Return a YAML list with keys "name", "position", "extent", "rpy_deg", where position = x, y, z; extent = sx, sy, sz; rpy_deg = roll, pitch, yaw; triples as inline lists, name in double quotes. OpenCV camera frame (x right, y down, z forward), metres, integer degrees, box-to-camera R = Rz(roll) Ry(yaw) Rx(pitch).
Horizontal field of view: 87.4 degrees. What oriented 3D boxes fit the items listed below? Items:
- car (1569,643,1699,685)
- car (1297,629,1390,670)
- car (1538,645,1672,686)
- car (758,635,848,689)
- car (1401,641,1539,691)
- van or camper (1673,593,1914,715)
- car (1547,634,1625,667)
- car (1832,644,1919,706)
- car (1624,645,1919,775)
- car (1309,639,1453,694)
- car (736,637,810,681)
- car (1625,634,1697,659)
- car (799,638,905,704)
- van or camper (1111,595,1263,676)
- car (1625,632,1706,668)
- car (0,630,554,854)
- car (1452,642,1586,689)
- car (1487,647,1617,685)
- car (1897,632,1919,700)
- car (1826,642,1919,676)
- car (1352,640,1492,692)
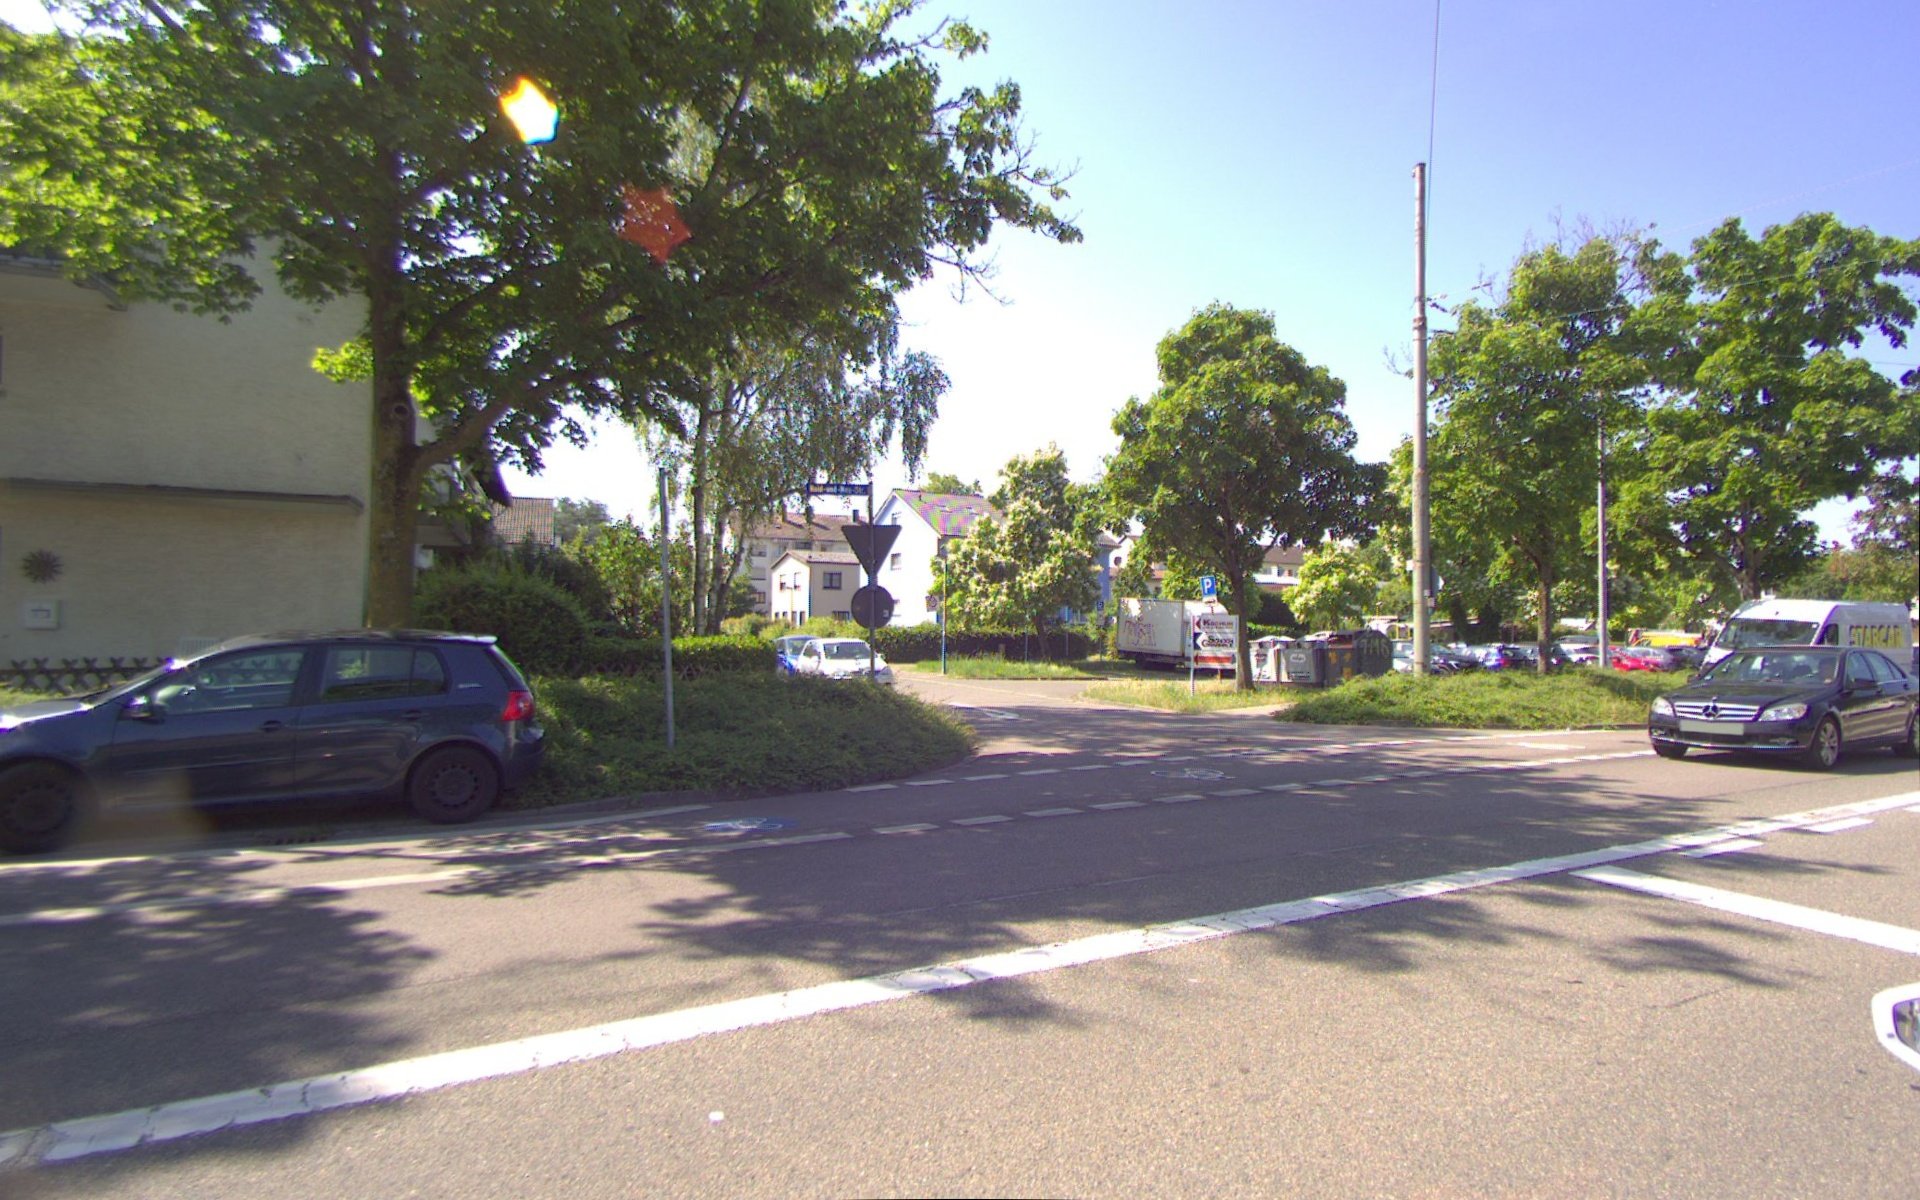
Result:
- name: "car"
  position: [26.583, 2.487, 39.728]
  extent: [1.644, 1.564, 3.969]
  rpy_deg: [2, -2, -30]
- name: "car"
  position: [18.639, 2.384, 48.946]
  extent: [1.766, 1.915, 3.964]
  rpy_deg: [2, -2, -33]
- name: "car"
  position: [24.491, 2.446, 38.283]
  extent: [1.712, 1.428, 3.969]
  rpy_deg: [2, -2, -30]
- name: "car"
  position: [-4.836, 1.843, 30.606]
  extent: [1.782, 1.545, 3.978]
  rpy_deg: [2, -3, -23]
- name: "car"
  position: [17.264, 2.204, 34.176]
  extent: [1.645, 1.564, 3.967]
  rpy_deg: [2, -3, -31]
- name: "van or camper"
  position: [19.473, 1.243, 23.405]
  extent: [6.072, 2.547, 2.248]
  rpy_deg: [2, -2, -29]
- name: "car"
  position: [40.861, 3.282, 65.641]
  extent: [1.890, 2.029, 3.964]
  rpy_deg: [2, -2, -33]
- name: "car"
  position: [25.024, 1.921, 26.258]
  extent: [4.829, 1.474, 1.923]
  rpy_deg: [2, -2, -31]
- name: "car"
  position: [10.648, 1.300, 12.913]
  extent: [4.253, 1.428, 1.778]
  rpy_deg: [2, -3, -29]
- name: "car"
  position: [13.050, 2.028, 31.382]
  extent: [1.645, 1.564, 3.967]
  rpy_deg: [2, -3, -31]
- name: "car"
  position: [-6.712, 2.059, 35.750]
  extent: [1.740, 1.475, 3.978]
  rpy_deg: [2, -3, -23]
- name: "car"
  position: [63.743, 4.238, 91.414]
  extent: [2.077, 2.202, 4.902]
  rpy_deg: [2, -3, -32]
- name: "car"
  position: [-2.884, 1.761, 26.018]
  extent: [1.781, 1.545, 3.981]
  rpy_deg: [0, -2, -21]
- name: "van or camper"
  position: [9.891, 1.563, 44.530]
  extent: [2.553, 3.287, 6.914]
  rpy_deg: [2, -2, -31]
- name: "car"
  position: [46.281, 3.251, 65.958]
  extent: [1.890, 2.229, 3.964]
  rpy_deg: [2, -2, -33]
- name: "car"
  position: [-5.499, 0.993, 8.010]
  extent: [4.033, 1.470, 1.609]
  rpy_deg: [2, -2, -29]
- name: "car"
  position: [20.003, 2.318, 36.114]
  extent: [1.644, 1.564, 3.969]
  rpy_deg: [2, -3, -30]
- name: "car"
  position: [21.945, 2.423, 37.364]
  extent: [1.644, 1.287, 3.898]
  rpy_deg: [2, -3, -30]
- name: "car"
  position: [30.141, 1.954, 29.925]
  extent: [5.132, 1.966, 2.182]
  rpy_deg: [2, -2, -34]
- name: "car"
  position: [49.181, 3.146, 53.773]
  extent: [1.645, 1.716, 3.967]
  rpy_deg: [2, -3, -31]
- name: "car"
  position: [15.028, 2.112, 32.855]
  extent: [1.645, 1.564, 3.967]
  rpy_deg: [2, -3, -31]
